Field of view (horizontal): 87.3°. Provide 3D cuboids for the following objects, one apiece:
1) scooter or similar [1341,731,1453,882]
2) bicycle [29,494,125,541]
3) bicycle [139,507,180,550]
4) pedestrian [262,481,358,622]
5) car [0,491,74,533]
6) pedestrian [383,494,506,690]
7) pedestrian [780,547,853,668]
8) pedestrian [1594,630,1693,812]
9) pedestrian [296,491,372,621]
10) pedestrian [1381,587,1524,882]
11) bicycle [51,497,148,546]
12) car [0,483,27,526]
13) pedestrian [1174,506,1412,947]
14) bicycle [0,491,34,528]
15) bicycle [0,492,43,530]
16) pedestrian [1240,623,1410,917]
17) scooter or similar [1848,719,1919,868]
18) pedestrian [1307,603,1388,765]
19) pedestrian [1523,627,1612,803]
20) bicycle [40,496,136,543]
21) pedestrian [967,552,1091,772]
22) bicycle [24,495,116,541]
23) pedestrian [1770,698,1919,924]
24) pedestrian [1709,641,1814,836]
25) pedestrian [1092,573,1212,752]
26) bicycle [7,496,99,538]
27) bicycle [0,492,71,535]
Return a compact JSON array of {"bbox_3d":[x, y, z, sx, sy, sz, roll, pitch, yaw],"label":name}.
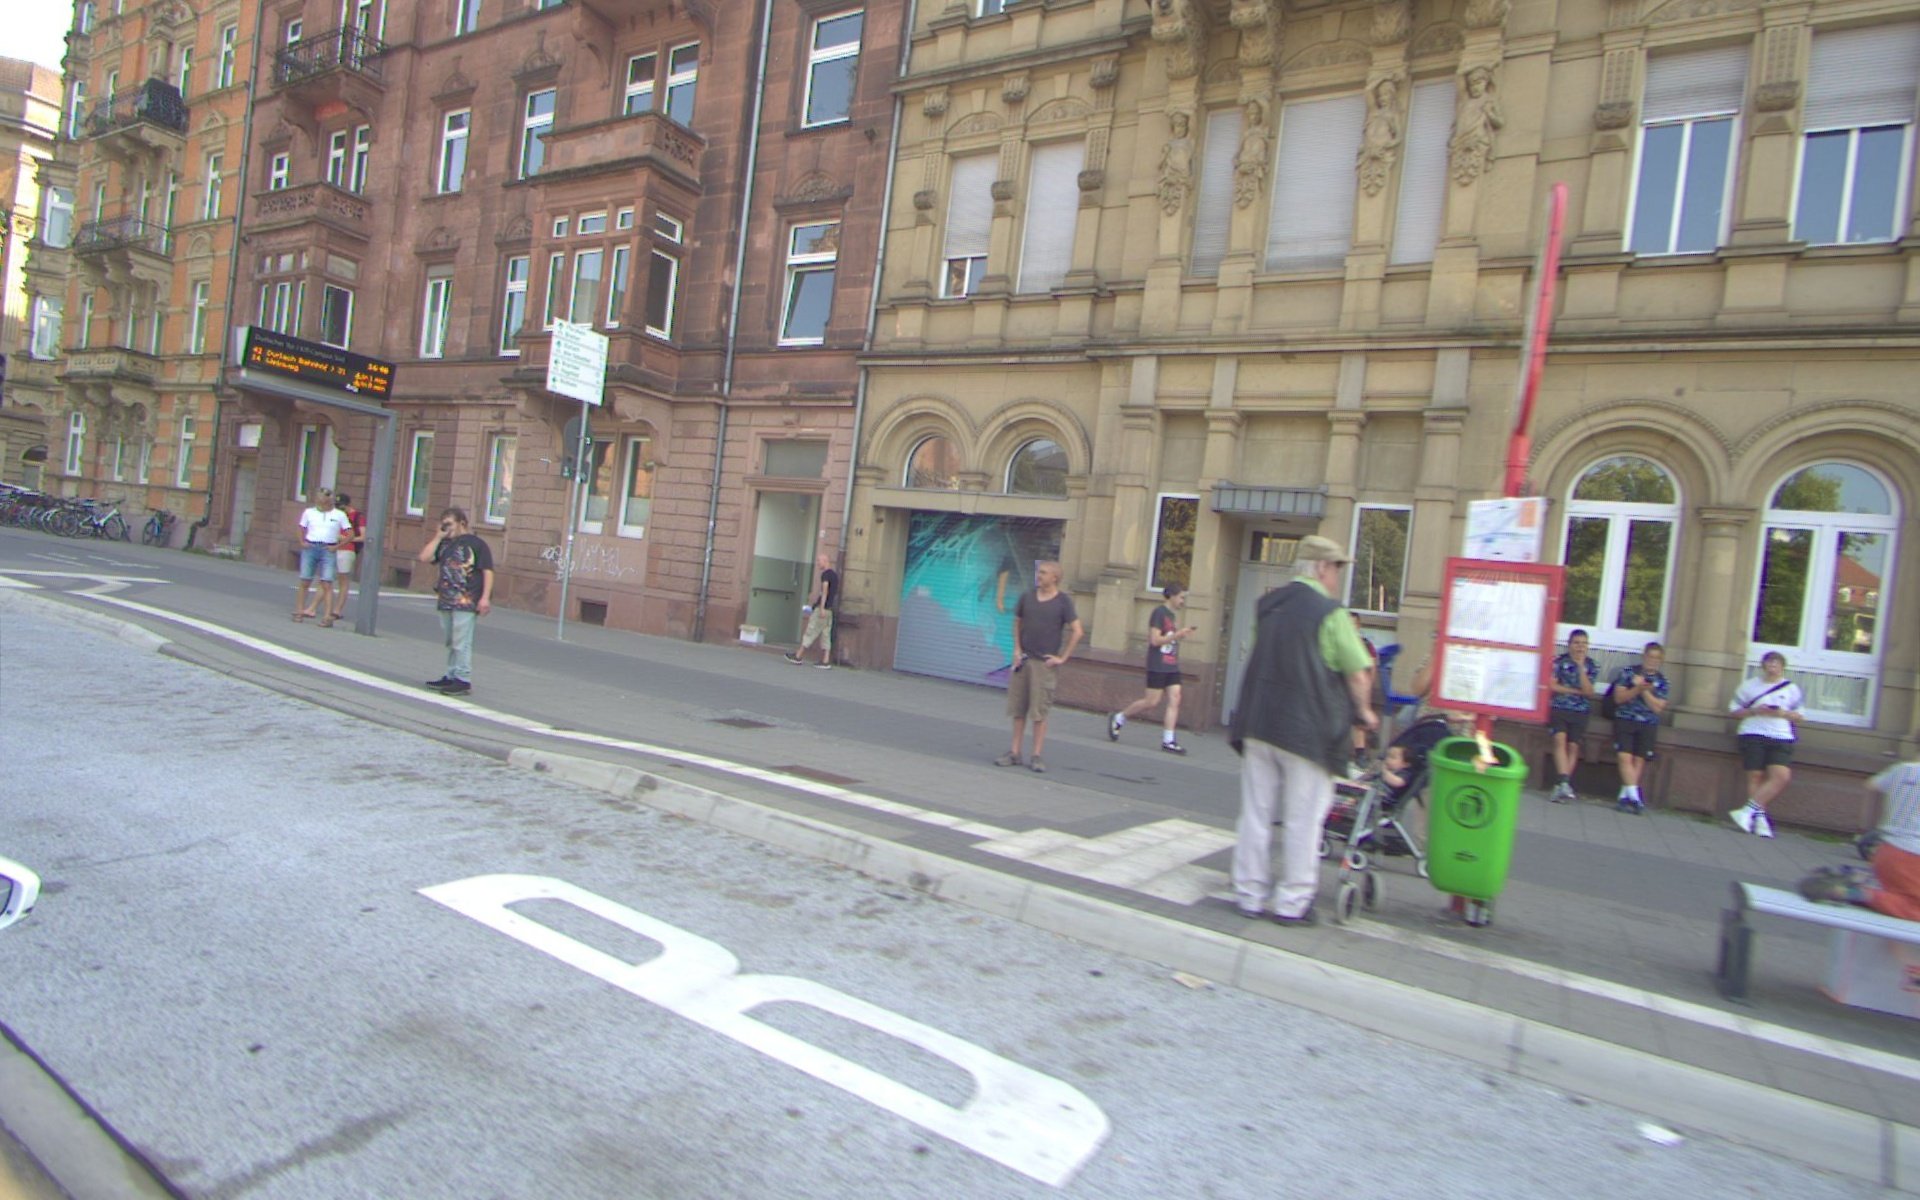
[{"bbox_3d":[2.663,1.228,6.117,0.505,0.751,0.566,7,1,28],"label":"scooter or similar"},{"bbox_3d":[-24.919,-2.314,28.419,0.491,1.061,1.932,7,0,26],"label":"bicycle"},{"bbox_3d":[-22.153,-1.990,27.833,1.644,1.061,0.416,7,1,37],"label":"bicycle"},{"bbox_3d":[-8.258,-0.605,12.790,0.609,1.685,0.691,7,1,32],"label":"pedestrian"},{"bbox_3d":[-34.830,-3.314,36.328,1.520,1.237,3.944,7,0,27],"label":"car"},{"bbox_3d":[-4.570,-0.065,8.923,0.691,1.632,0.529,7,1,28],"label":"pedestrian"},{"bbox_3d":[-2.187,0.117,15.318,0.679,1.740,0.630,7,1,31],"label":"pedestrian"},{"bbox_3d":[6.890,1.195,10.170,0.577,1.713,0.604,7,1,28],"label":"pedestrian"},{"bbox_3d":[-8.729,-0.608,14.033,0.691,1.723,0.482,7,1,28],"label":"pedestrian"},{"bbox_3d":[3.179,0.836,6.503,0.606,1.751,0.566,7,1,28],"label":"pedestrian"},{"bbox_3d":[-23.682,-2.140,27.728,0.491,1.061,1.932,7,0,26],"label":"bicycle"},{"bbox_3d":[-39.196,-3.982,38.820,1.965,1.582,4.189,7,0,27],"label":"car"},{"bbox_3d":[1.493,0.517,4.491,0.732,1.751,0.566,7,1,28],"label":"pedestrian"},{"bbox_3d":[-30.549,-2.932,31.670,0.518,1.061,1.932,7,0,26],"label":"bicycle"},{"bbox_3d":[-29.937,-2.843,31.329,0.518,1.061,1.932,7,0,26],"label":"bicycle"},{"bbox_3d":[1.821,0.801,4.999,0.587,1.293,0.566,7,1,27],"label":"pedestrian"},{"bbox_3d":[8.339,1.684,8.466,1.132,1.178,0.360,7,1,29],"label":"scooter or similar"},{"bbox_3d":[4.301,0.919,11.156,0.577,1.675,0.604,7,1,28],"label":"pedestrian"},{"bbox_3d":[6.350,1.184,10.545,0.577,1.713,0.604,7,1,28],"label":"pedestrian"},{"bbox_3d":[-24.311,-2.230,28.095,0.491,1.061,1.932,7,0,26],"label":"bicycle"},{"bbox_3d":[0.586,0.510,8.600,0.791,1.754,0.342,7,1,28],"label":"pedestrian"},{"bbox_3d":[-26.060,-2.388,29.499,0.491,1.061,1.932,7,0,26],"label":"bicycle"},{"bbox_3d":[3.827,0.869,4.168,0.593,0.830,0.303,7,1,24],"label":"pedestrian"},{"bbox_3d":[7.693,1.301,9.677,0.502,1.753,0.604,7,1,28],"label":"pedestrian"},{"bbox_3d":[2.046,0.650,10.701,0.882,1.746,0.701,7,1,31],"label":"pedestrian"},{"bbox_3d":[-26.795,-2.452,29.763,0.491,0.962,1.932,7,0,26],"label":"bicycle"},{"bbox_3d":[-28.080,-2.614,30.238,0.518,1.061,1.932,7,0,26],"label":"bicycle"}]
